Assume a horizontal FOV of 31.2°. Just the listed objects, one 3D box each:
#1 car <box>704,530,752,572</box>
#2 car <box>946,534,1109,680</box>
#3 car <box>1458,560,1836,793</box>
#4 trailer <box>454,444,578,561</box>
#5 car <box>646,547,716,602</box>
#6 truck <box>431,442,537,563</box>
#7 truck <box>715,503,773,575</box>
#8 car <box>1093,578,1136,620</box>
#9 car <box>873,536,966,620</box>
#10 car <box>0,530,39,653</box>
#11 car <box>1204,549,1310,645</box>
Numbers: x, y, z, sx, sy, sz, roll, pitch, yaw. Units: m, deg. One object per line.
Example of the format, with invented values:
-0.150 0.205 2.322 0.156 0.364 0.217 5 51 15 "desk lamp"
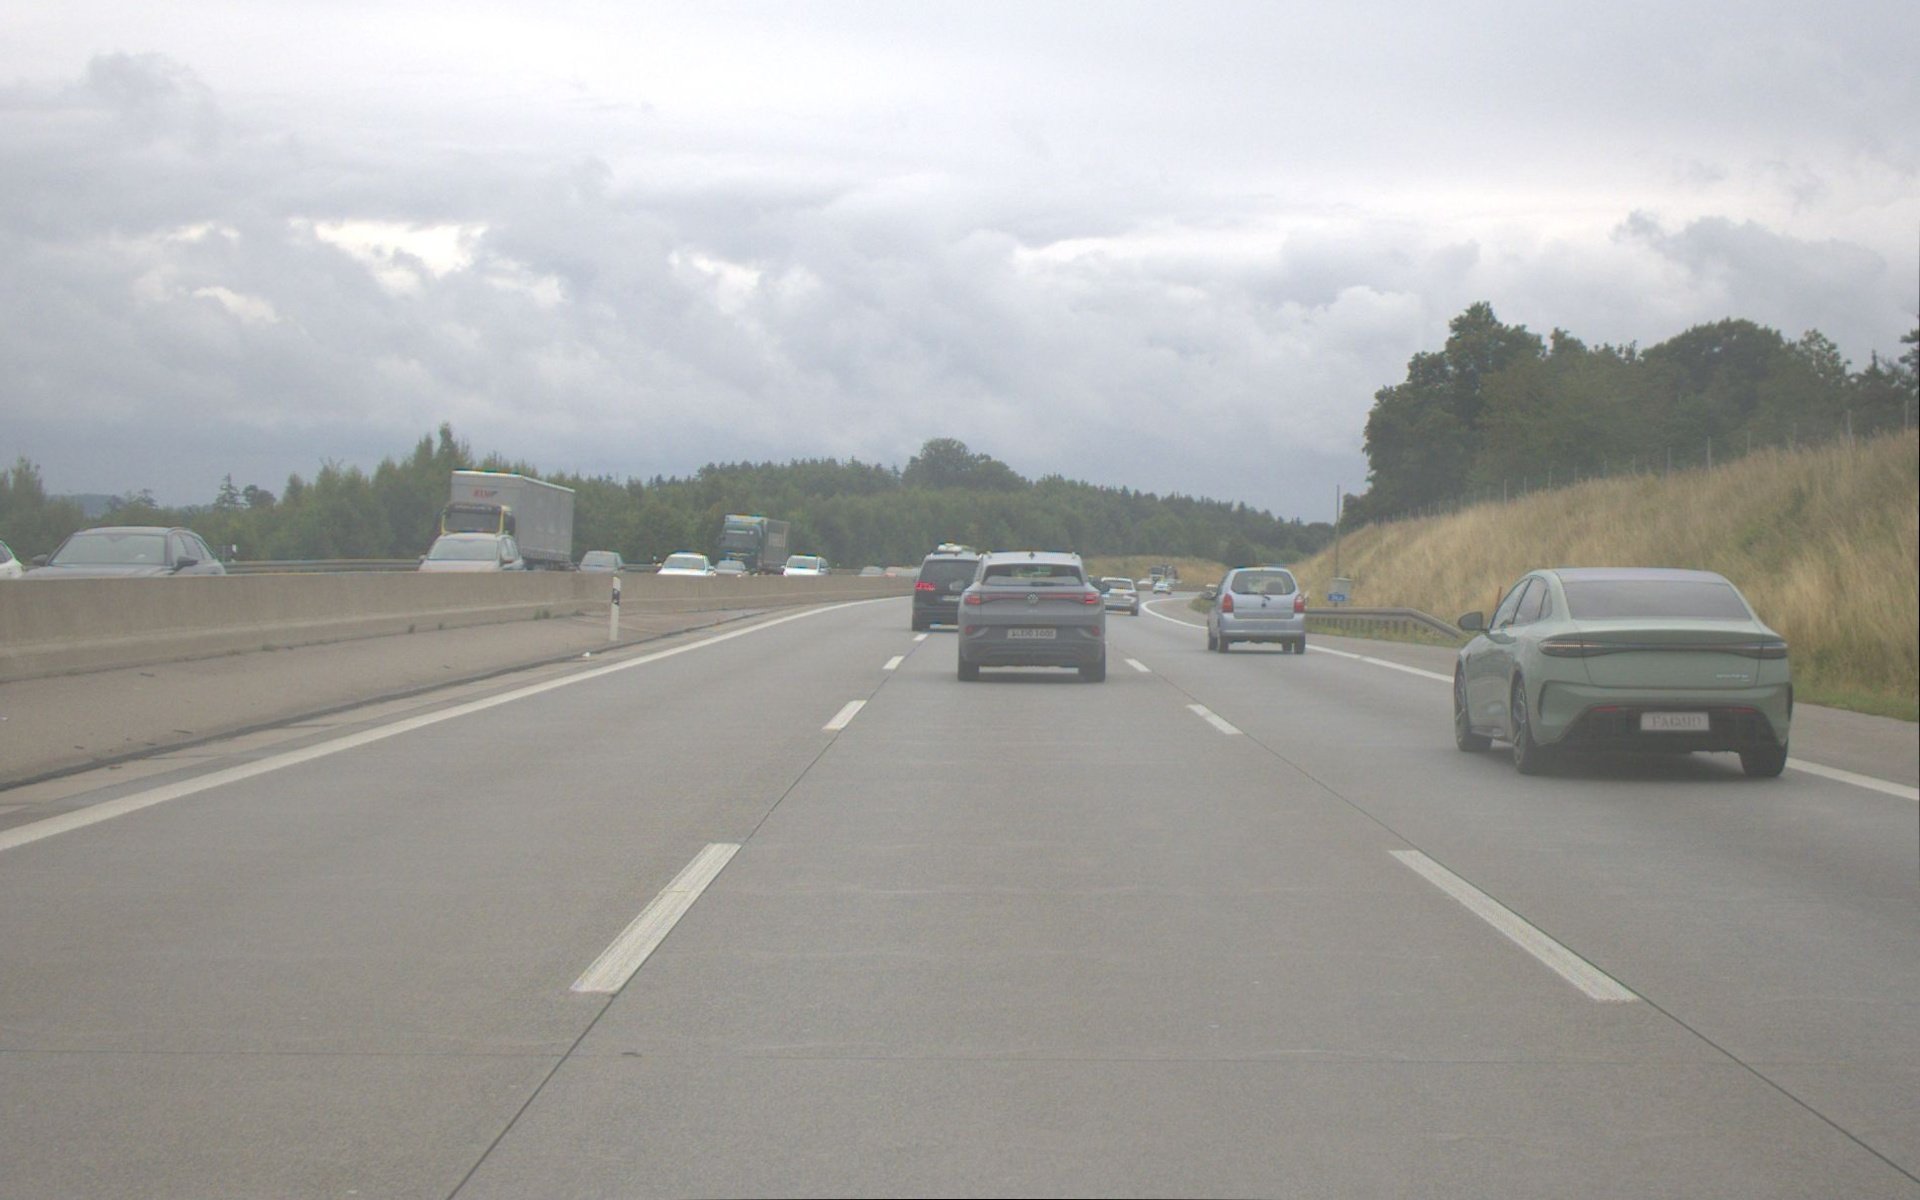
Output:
-11.903 -2.533 176.615 1.914 2.006 5.924 1 2 1 "car"
0.800 0.031 43.893 1.898 1.684 5.267 1 2 -1 "car"
4.890 0.476 25.139 2.014 1.441 4.745 1 2 3 "car"
-16.776 -3.707 130.718 2.918 4.203 11.873 1 2 1 "trailer"
-9.829 -0.926 121.361 2.034 1.861 4.604 1 1 0 "car"
-16.927 -3.479 122.532 2.931 4.166 5.858 1 2 0 "truck"
-13.489 -3.828 215.299 2.789 4.248 6.049 4 2 2 "truck"
6.069 -0.031 134.932 1.485 1.465 3.505 3 2 1 "car"
-0.867 -0.506 75.078 1.785 1.741 3.915 1 2 3 "car"
-14.504 -0.112 49.169 1.495 1.742 4.579 1 2 -1 "car"
5.063 -0.071 58.913 1.485 1.465 3.505 3 2 1 "car"
